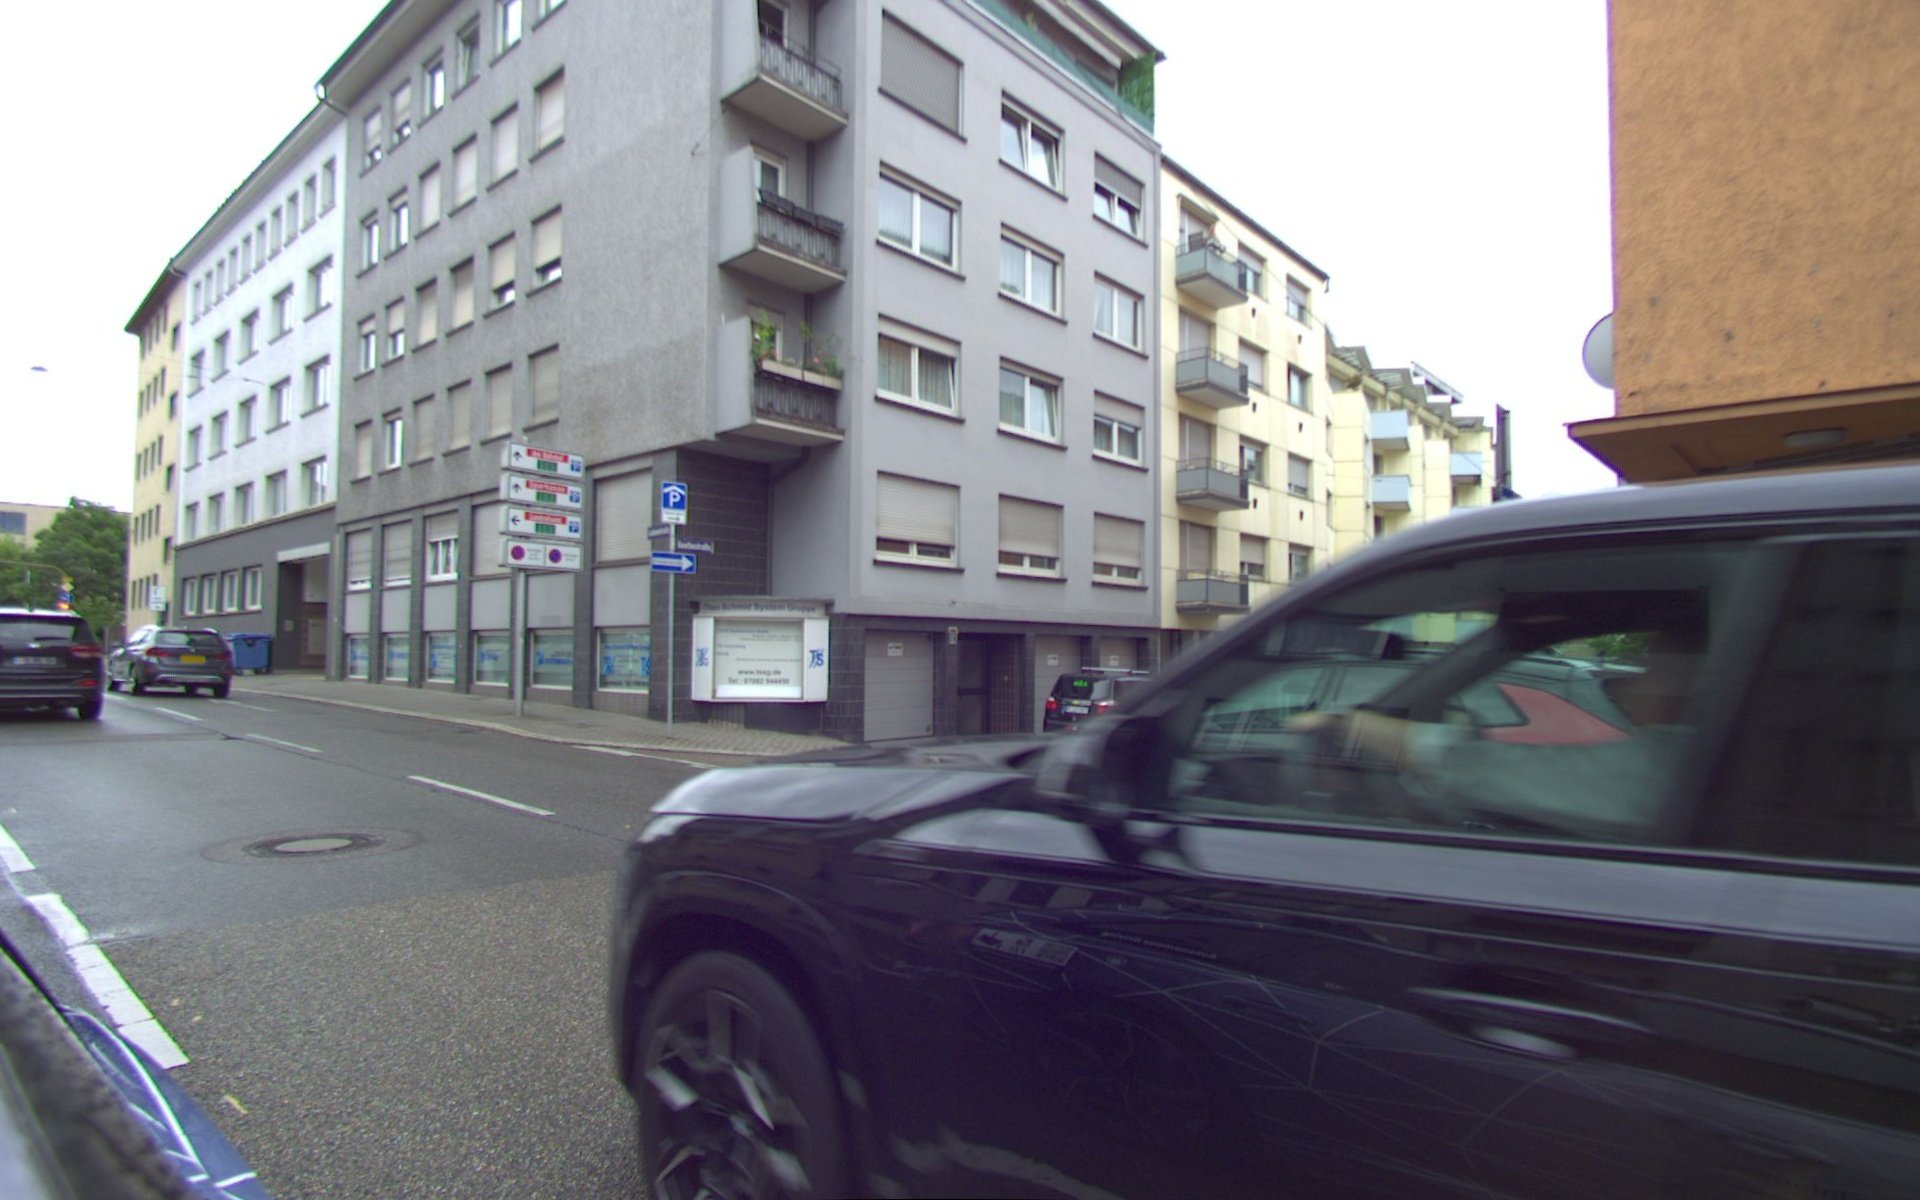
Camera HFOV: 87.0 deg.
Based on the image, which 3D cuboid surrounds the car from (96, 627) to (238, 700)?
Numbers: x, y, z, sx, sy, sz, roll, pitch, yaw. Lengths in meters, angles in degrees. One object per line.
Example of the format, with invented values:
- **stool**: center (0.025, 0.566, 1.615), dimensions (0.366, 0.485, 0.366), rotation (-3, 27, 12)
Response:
- **car**: center (-18.149, 1.425, 23.104), dimensions (4.157, 1.519, 1.685), rotation (-1, -5, 41)

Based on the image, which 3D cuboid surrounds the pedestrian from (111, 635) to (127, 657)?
- **pedestrian**: center (-46.320, 2.528, 55.745), dimensions (0.407, 1.158, 0.575), rotation (-2, -6, 42)

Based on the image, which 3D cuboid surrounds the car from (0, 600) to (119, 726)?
- **car**: center (-14.814, 0.935, 15.760), dimensions (4.471, 1.740, 1.817), rotation (-1, -5, 41)

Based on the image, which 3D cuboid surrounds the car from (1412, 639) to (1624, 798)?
- **car**: center (10.576, 2.219, 18.898), dimensions (2.249, 2.481, 5.975), rotation (-1, -7, 41)

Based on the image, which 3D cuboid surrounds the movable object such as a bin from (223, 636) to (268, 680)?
- **movable object such as a bin**: center (-22.846, 1.838, 32.353), dimensions (1.096, 1.343, 0.933), rotation (-1, 0, 41)

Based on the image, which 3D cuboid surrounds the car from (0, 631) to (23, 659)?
- **car**: center (-53.403, 2.434, 54.659), dimensions (1.738, 1.519, 3.944), rotation (-1, -3, 42)

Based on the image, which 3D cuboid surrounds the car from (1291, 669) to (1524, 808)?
- **car**: center (6.390, 1.943, 14.192), dimensions (1.842, 1.589, 4.098), rotation (-1, -8, 41)

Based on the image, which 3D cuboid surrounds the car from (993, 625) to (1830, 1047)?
- **car**: center (2.230, 1.017, 6.155), dimensions (1.773, 1.596, 4.326), rotation (4, -4, -35)

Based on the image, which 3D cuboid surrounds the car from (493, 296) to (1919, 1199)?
- **car**: center (1.369, 0.667, 1.778), dimensions (4.815, 1.734, 2.104), rotation (-1, -5, 41)

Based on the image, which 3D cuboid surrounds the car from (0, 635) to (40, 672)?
- **car**: center (-43.980, 2.449, 46.623), dimensions (4.371, 1.602, 1.858), rotation (-1, -3, 41)

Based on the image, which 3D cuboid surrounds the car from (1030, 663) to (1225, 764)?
- **car**: center (3.397, 2.268, 19.875), dimensions (1.794, 1.700, 4.186), rotation (-1, -8, 41)
